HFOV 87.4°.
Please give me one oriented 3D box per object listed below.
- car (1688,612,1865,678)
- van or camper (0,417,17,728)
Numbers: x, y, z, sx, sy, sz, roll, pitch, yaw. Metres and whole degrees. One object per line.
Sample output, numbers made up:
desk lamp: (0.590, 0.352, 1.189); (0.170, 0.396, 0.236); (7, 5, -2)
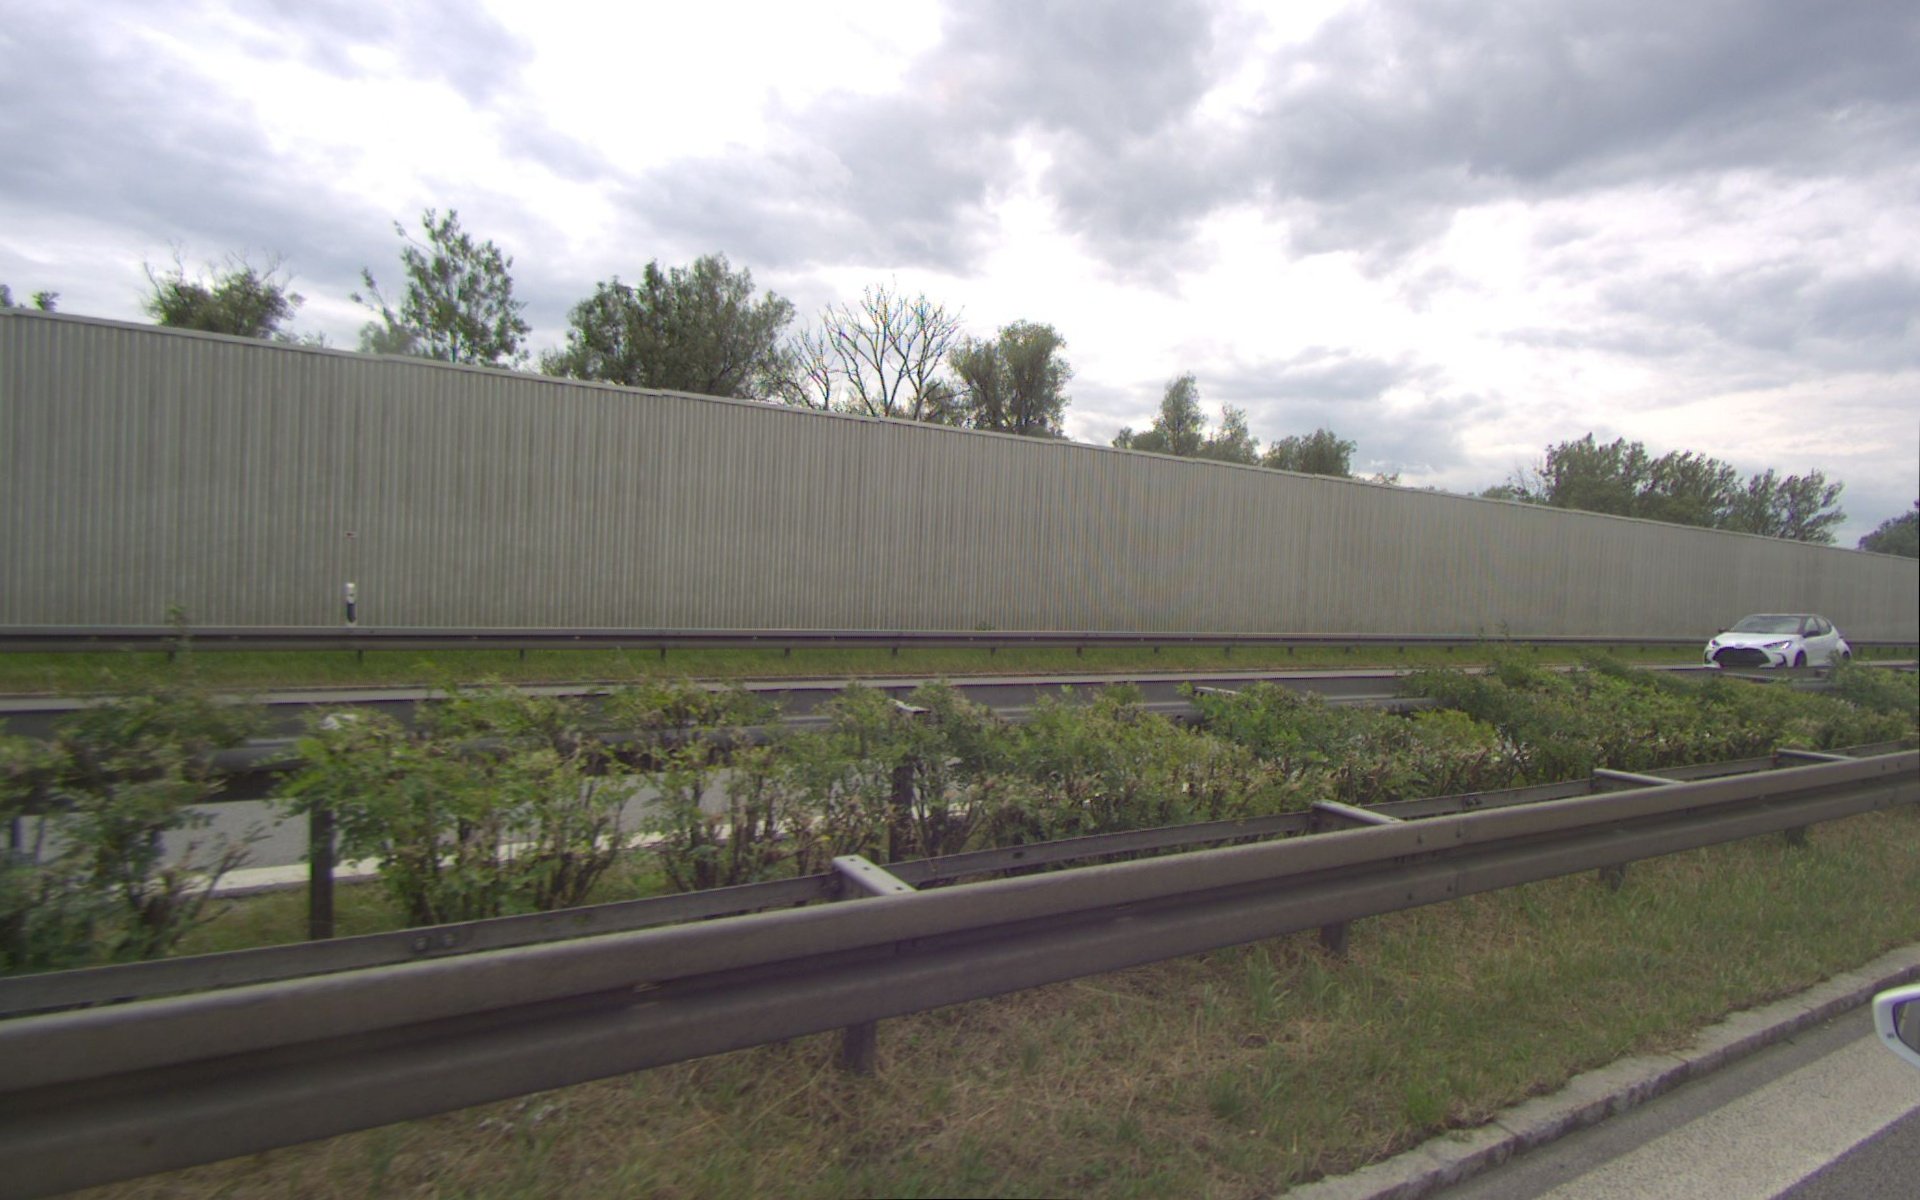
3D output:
car: (19.154, 1.019, 23.527); (4.448, 1.421, 1.855); (1, -1, -31)
van or camper: (-9.965, -0.281, 5.801); (6.238, 2.474, 1.983); (1, -1, -32)
